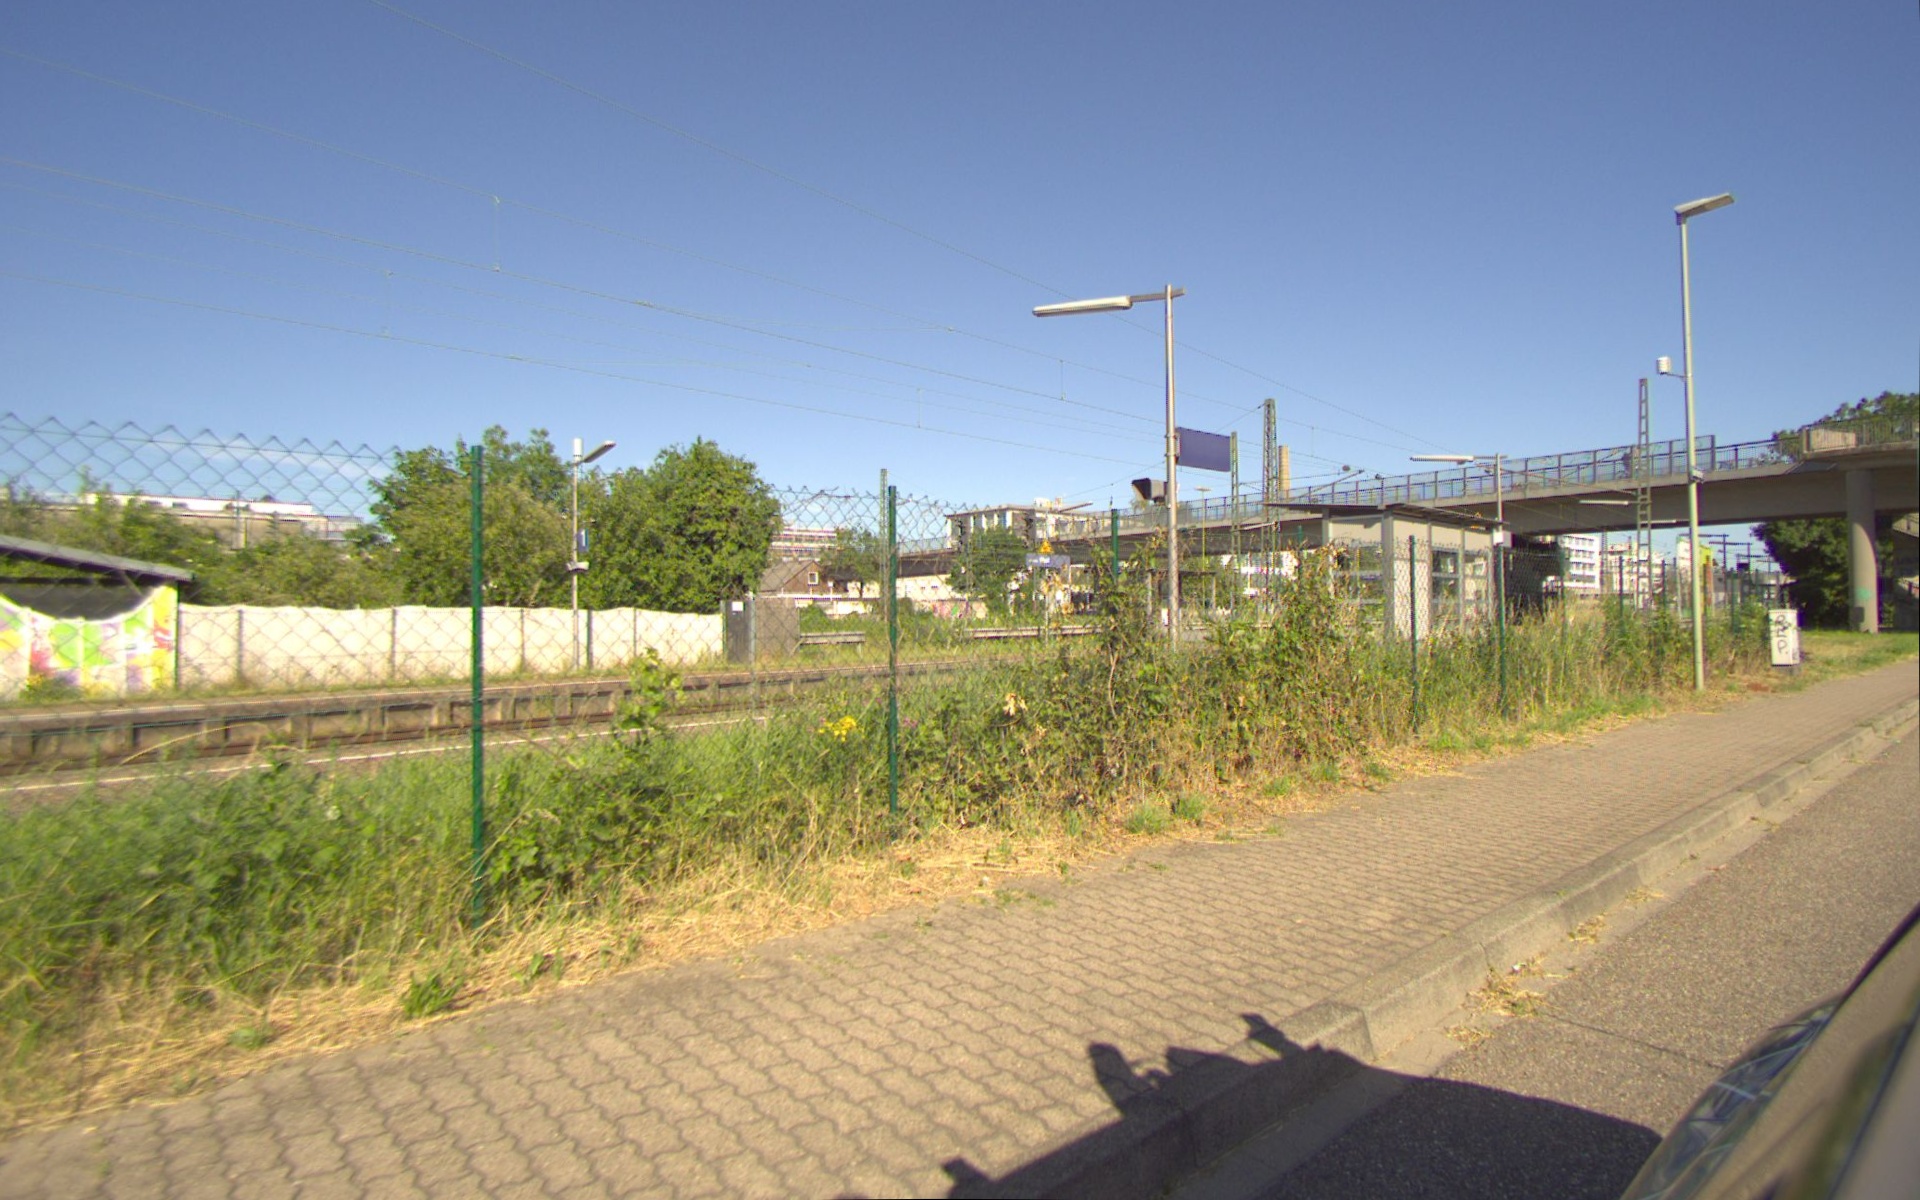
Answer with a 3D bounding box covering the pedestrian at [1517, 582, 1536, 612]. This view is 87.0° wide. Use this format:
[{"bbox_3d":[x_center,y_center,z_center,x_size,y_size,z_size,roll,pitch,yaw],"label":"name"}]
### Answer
[{"bbox_3d":[39.074,-0.178,69.818,0.822,2.039,0.894,0,-1,-43],"label":"pedestrian"}]
